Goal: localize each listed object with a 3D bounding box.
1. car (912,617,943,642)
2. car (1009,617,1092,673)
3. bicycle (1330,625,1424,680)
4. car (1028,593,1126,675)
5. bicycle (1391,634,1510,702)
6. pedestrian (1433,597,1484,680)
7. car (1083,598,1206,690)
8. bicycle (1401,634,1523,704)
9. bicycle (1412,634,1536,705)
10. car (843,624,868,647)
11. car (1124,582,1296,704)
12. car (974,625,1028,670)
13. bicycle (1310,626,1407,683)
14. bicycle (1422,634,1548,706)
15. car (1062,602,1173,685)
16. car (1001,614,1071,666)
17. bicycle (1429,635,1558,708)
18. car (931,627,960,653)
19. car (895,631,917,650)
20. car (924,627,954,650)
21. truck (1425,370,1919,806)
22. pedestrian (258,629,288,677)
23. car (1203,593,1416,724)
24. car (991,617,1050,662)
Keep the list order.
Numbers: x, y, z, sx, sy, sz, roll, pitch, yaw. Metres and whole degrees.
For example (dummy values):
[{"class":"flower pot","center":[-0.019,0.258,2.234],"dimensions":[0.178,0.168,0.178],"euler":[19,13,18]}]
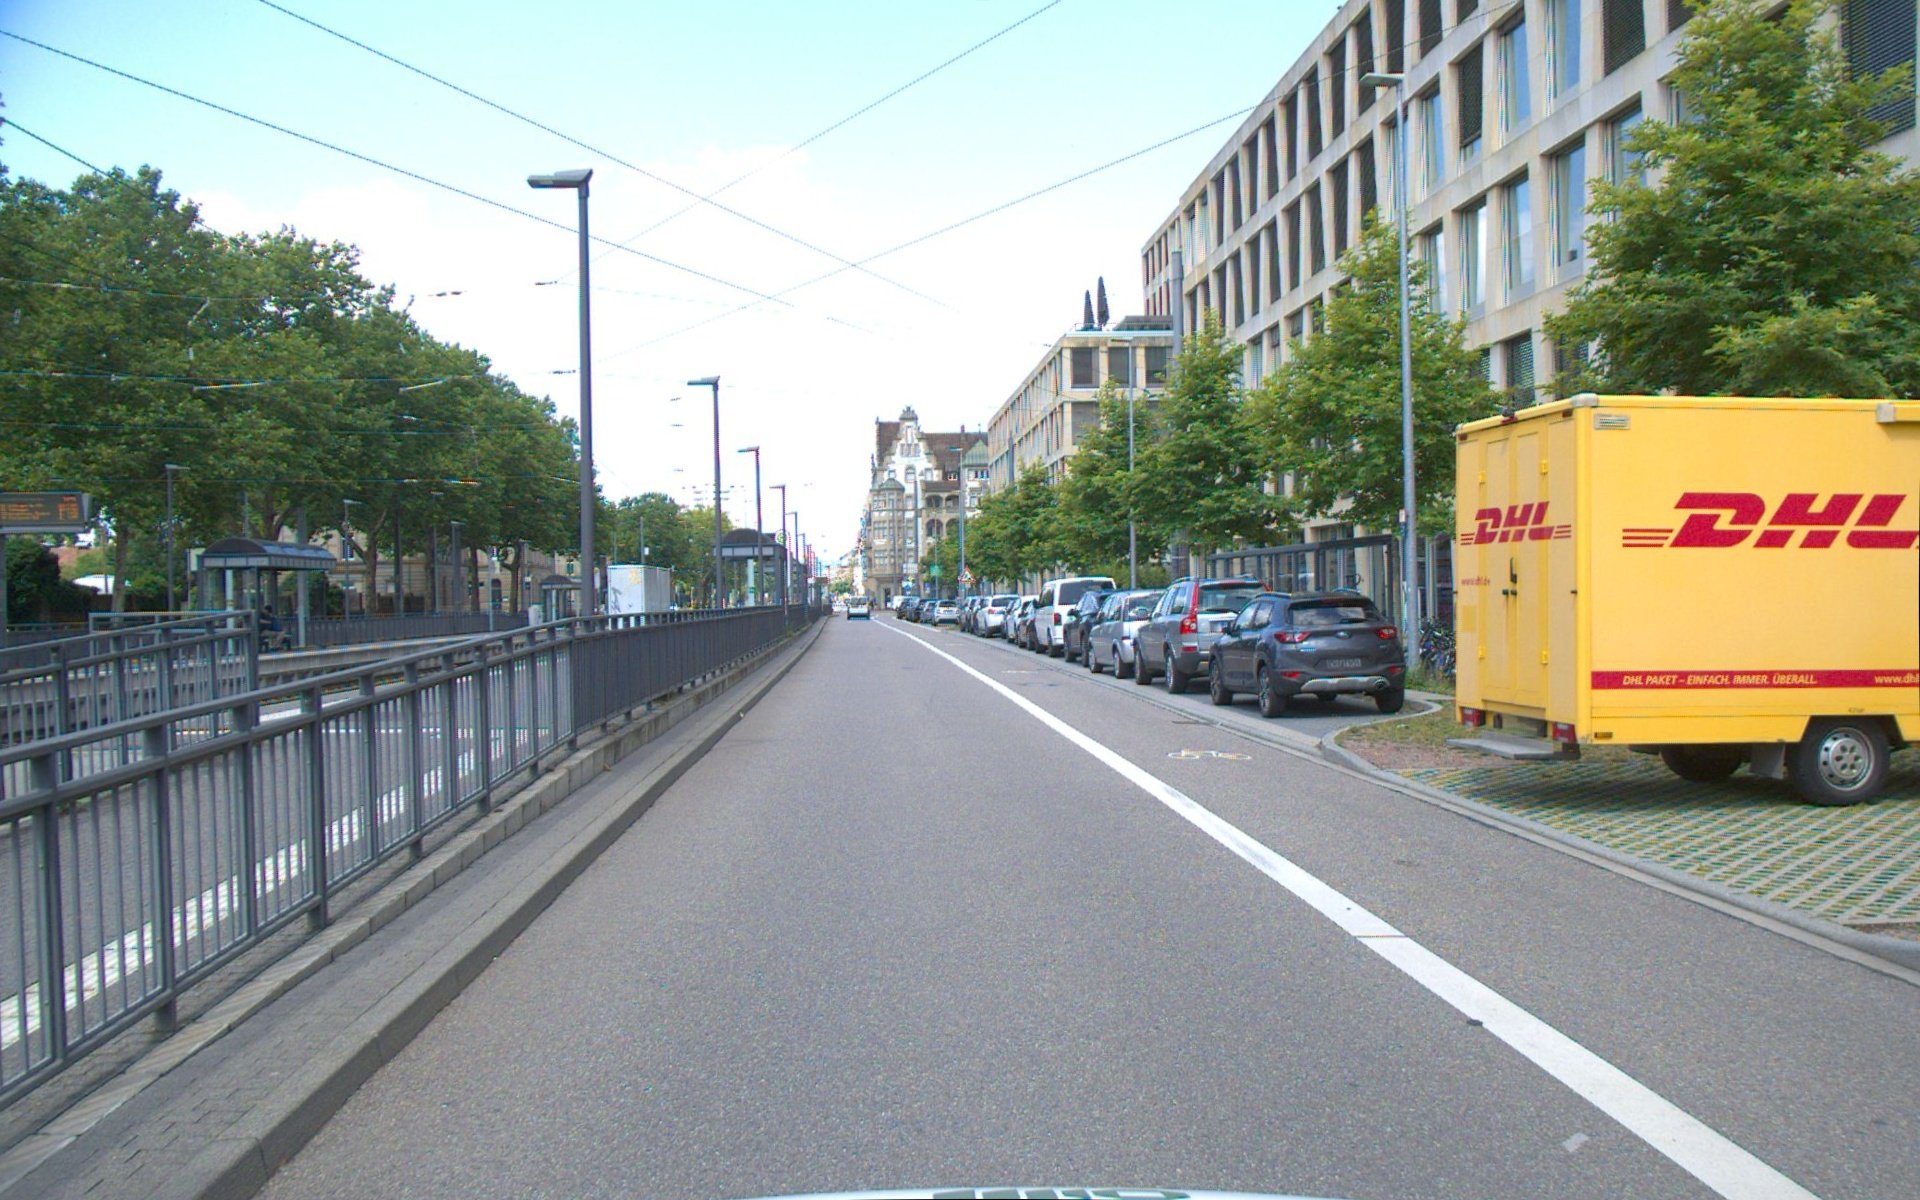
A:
[{"class":"car","center":[-2.289,2.037,114.441],"dimensions":[1.704,1.699,4.834],"euler":[1,-1,-6]},{"class":"car","center":[2.637,1.310,49.123],"dimensions":[1.845,1.513,4.559],"euler":[-2,-1,-4]},{"class":"bicycle","center":[8.491,1.072,33.667],"dimensions":[1.806,1.075,0.439],"euler":[1,-2,-6]},{"class":"car","center":[3.016,0.887,43.680],"dimensions":[1.845,1.973,4.838],"euler":[-2,-1,-4]},{"class":"bicycle","center":[8.023,1.115,27.057],"dimensions":[1.806,1.011,0.439],"euler":[3,-2,-6]},{"class":"pedestrian","center":[9.640,0.736,31.992],"dimensions":[0.625,1.578,0.904],"euler":[-1,-1,-4]},{"class":"car","center":[3.547,0.842,32.433],"dimensions":[1.687,1.648,3.856],"euler":[-1,-1,-4]},{"class":"bicycle","center":[8.061,1.105,26.577],"dimensions":[1.806,1.011,0.439],"euler":[3,-2,-6]},{"class":"bicycle","center":[8.112,1.094,26.116],"dimensions":[1.806,1.011,0.439],"euler":[3,-2,-6]},{"class":"car","center":[-8.237,2.798,130.310],"dimensions":[1.832,1.777,3.996],"euler":[0,-1,-5]},{"class":"car","center":[3.988,0.683,27.209],"dimensions":[1.734,1.798,4.835],"euler":[-1,-1,-4]},{"class":"car","center":[1.576,1.817,64.474],"dimensions":[1.652,1.634,4.148],"euler":[-2,-1,-4]},{"class":"bicycle","center":[7.901,1.079,32.808],"dimensions":[1.806,1.075,0.439],"euler":[1,-2,-6]},{"class":"bicycle","center":[8.144,1.084,25.648],"dimensions":[1.806,1.011,0.439],"euler":[3,-2,-6]},{"class":"car","center":[3.474,0.959,37.302],"dimensions":[1.687,1.669,4.523],"euler":[-2,-1,-4]},{"class":"car","center":[2.464,1.294,54.406],"dimensions":[1.757,1.556,4.154],"euler":[-2,-1,-4]},{"class":"bicycle","center":[8.115,1.083,25.168],"dimensions":[1.806,1.011,0.439],"euler":[3,-2,-6]},{"class":"car","center":[-0.877,2.334,97.136],"dimensions":[1.559,1.486,3.610],"euler":[0,-1,-3]},{"class":"car","center":[-4.437,3.289,134.993],"dimensions":[1.415,1.495,4.087],"euler":[-3,-1,-6]},{"class":"car","center":[-1.411,2.490,108.376],"dimensions":[1.560,1.460,4.101],"euler":[1,-1,-6]},{"class":"truck","center":[7.289,-0.121,12.713],"dimensions":[6.676,2.917,2.451],"euler":[-1,-1,-7]},{"class":"pedestrian","center":[-19.004,1.460,45.763],"dimensions":[0.541,1.291,0.767],"euler":[-1,-1,-3]},{"class":"car","center":[4.485,0.729,21.837],"dimensions":[1.658,1.531,4.064],"euler":[-1,-1,-4]},{"class":"car","center":[2.136,1.410,59.403],"dimensions":[1.652,1.483,3.946],"euler":[-2,-1,-4]}]
